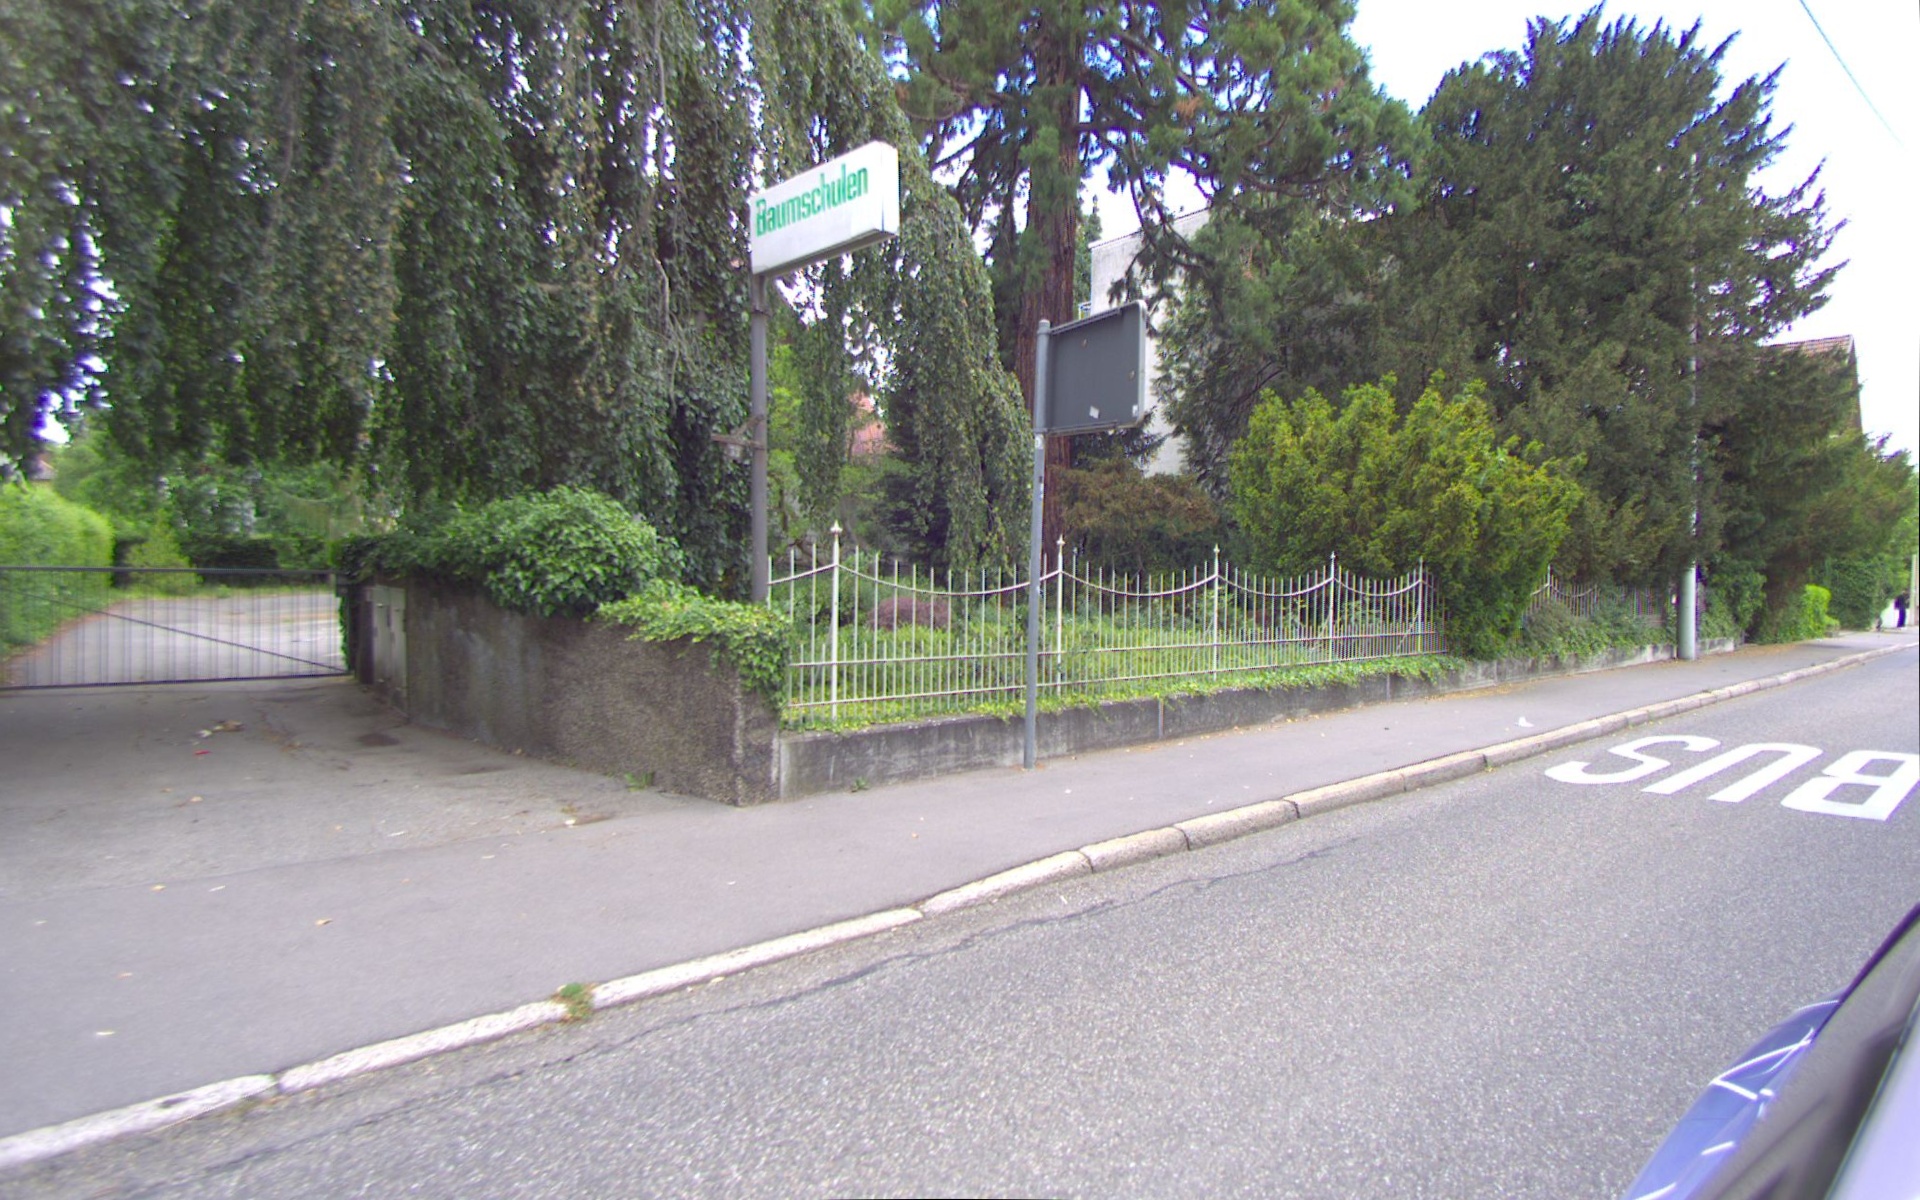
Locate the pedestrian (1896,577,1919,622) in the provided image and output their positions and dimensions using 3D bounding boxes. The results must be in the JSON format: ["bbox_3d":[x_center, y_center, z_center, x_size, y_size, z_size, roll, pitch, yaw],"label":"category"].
[{"bbox_3d":[38.109,-0.021,40.626,0.657,1.789,0.491,0,0,-9],"label":"pedestrian"}]
